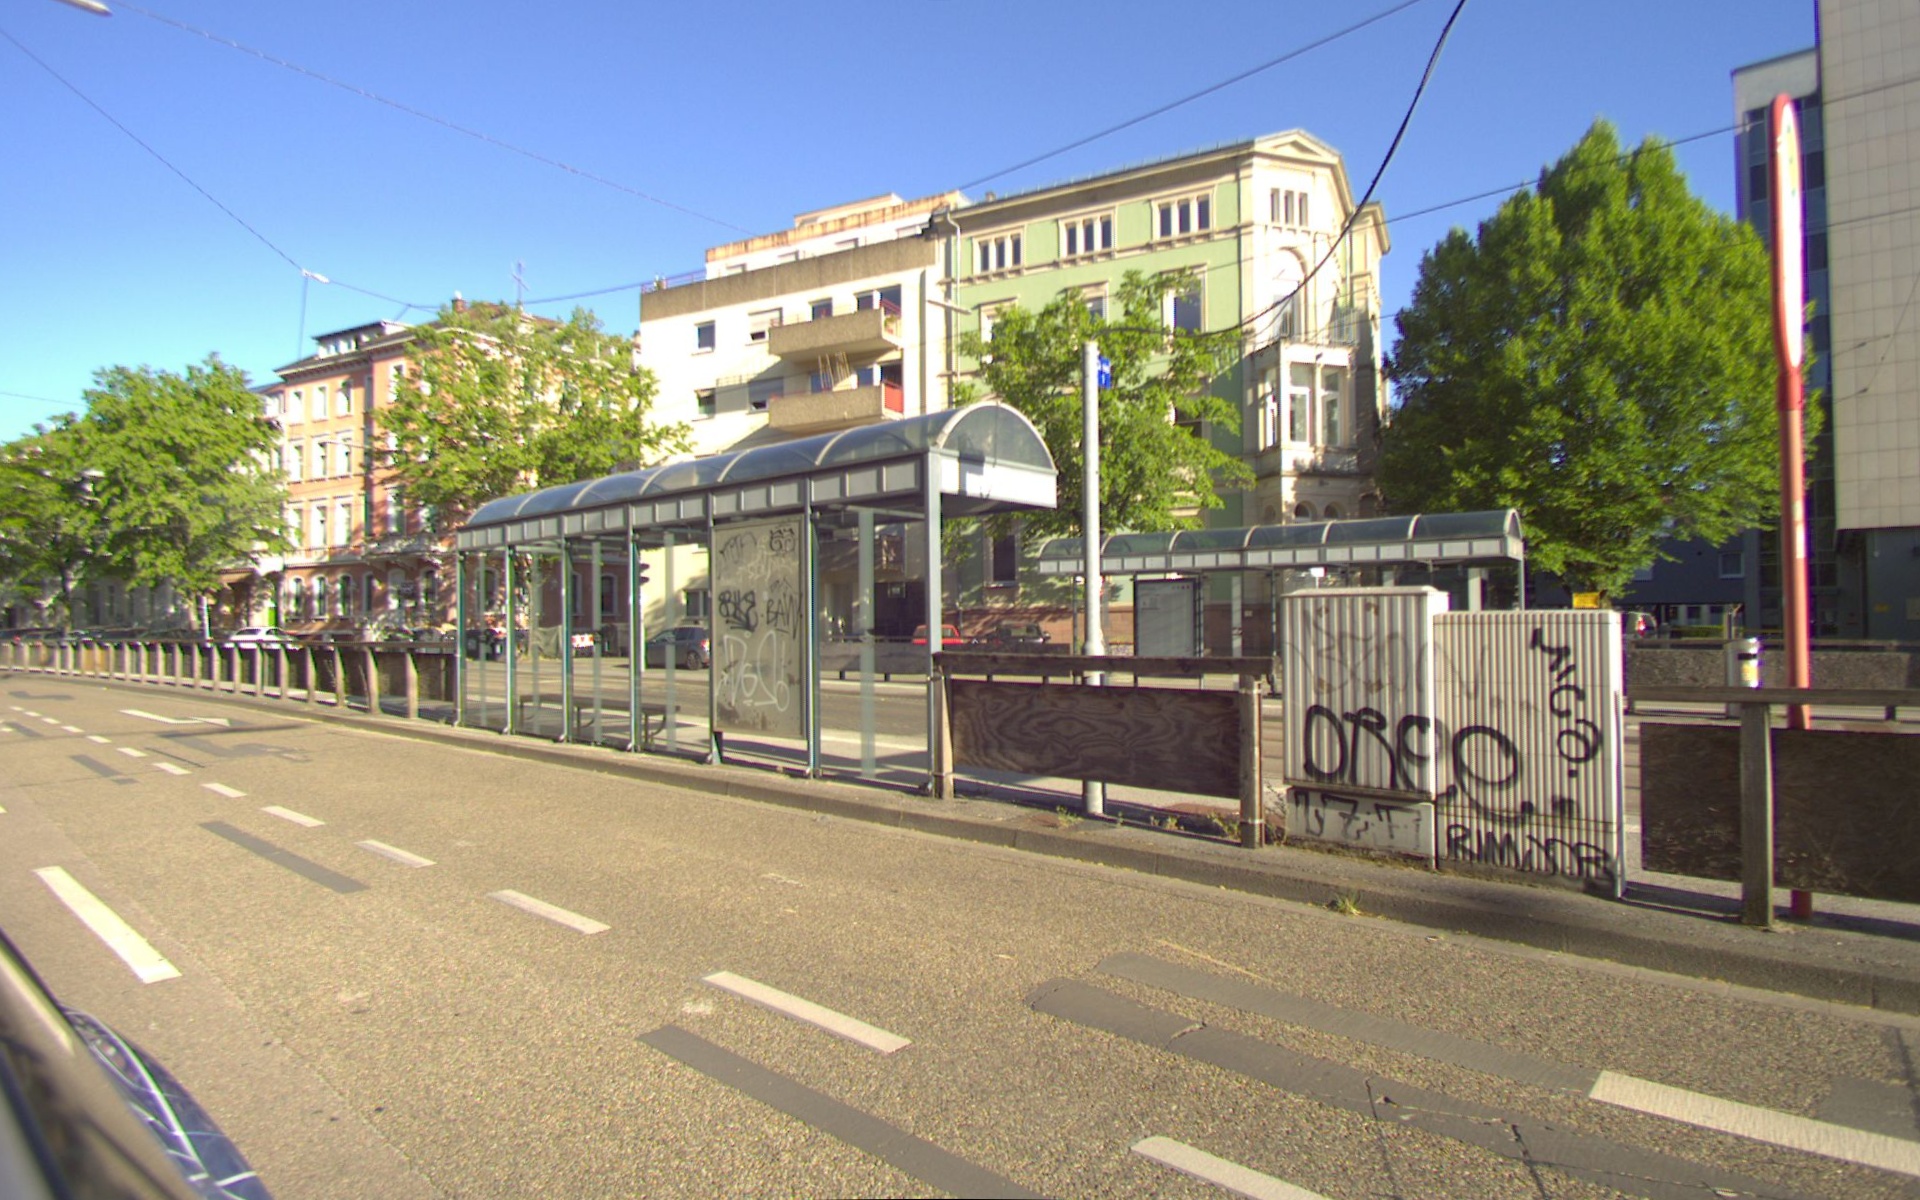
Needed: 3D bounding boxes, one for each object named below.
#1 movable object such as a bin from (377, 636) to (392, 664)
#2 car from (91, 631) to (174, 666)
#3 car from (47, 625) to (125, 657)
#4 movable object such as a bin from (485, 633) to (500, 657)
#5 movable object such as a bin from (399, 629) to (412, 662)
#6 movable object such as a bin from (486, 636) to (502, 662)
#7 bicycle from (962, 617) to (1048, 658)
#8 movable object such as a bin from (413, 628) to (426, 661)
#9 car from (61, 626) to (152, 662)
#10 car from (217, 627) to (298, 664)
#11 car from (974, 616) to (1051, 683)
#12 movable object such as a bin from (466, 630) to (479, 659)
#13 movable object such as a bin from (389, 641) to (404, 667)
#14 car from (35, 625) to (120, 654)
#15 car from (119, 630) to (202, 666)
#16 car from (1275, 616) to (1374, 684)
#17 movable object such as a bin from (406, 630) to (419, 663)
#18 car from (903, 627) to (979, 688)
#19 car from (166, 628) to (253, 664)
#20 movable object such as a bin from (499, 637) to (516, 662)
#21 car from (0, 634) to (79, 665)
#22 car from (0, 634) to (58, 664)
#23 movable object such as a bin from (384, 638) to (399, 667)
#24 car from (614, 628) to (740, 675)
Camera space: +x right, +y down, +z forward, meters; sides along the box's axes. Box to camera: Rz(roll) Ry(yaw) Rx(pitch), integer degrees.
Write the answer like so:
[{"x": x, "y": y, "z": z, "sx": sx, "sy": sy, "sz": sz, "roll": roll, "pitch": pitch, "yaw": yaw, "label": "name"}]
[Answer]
[{"x": -25.217, "y": 2.181, "z": 44.361, "sx": 0.639, "sy": 1.212, "sz": 0.375, "roll": -2, "pitch": -2, "yaw": 40, "label": "movable object such as a bin"}, {"x": -44.674, "y": 2.562, "z": 54.736, "sx": 1.609, "sy": 1.629, "sz": 3.993, "roll": -2, "pitch": 1, "yaw": -7, "label": "car"}, {"x": -50.107, "y": 2.342, "z": 58.103, "sx": 1.682, "sy": 1.544, "sz": 3.284, "roll": -2, "pitch": 2, "yaw": -3, "label": "car"}, {"x": -21.637, "y": 2.087, "z": 46.847, "sx": 0.551, "sy": 1.107, "sz": 0.376, "roll": -2, "pitch": -2, "yaw": 34, "label": "movable object such as a bin"}, {"x": -24.370, "y": 2.008, "z": 44.470, "sx": 0.387, "sy": 1.437, "sz": 0.375, "roll": -2, "pitch": -2, "yaw": 40, "label": "movable object such as a bin"}, {"x": -20.425, "y": 2.128, "z": 44.375, "sx": 0.551, "sy": 1.105, "sz": 0.376, "roll": 0, "pitch": -1, "yaw": 34, "label": "movable object such as a bin"}, {"x": 1.552, "y": 1.309, "z": 35.518, "sx": 2.995, "sy": 1.409, "sz": 0.713, "roll": -1, "pitch": -2, "yaw": 27, "label": "bicycle"}, {"x": -23.586, "y": 1.951, "z": 44.149, "sx": 0.387, "sy": 1.437, "sz": 0.375, "roll": -2, "pitch": -2, "yaw": 40, "label": "movable object such as a bin"}, {"x": -47.615, "y": 2.411, "z": 56.575, "sx": 1.682, "sy": 1.735, "sz": 4.290, "roll": -1, "pitch": 1, "yaw": -4, "label": "car"}, {"x": -34.863, "y": 2.219, "z": 50.351, "sx": 1.708, "sy": 1.533, "sz": 3.924, "roll": -2, "pitch": 1, "yaw": -9, "label": "car"}, {"x": 1.396, "y": 1.332, "z": 28.624, "sx": 1.566, "sy": 1.654, "sz": 4.520, "roll": 0, "pitch": 0, "yaw": -5, "label": "car"}, {"x": -22.204, "y": 2.012, "z": 46.124, "sx": 0.387, "sy": 1.322, "sz": 0.376, "roll": -2, "pitch": -2, "yaw": 34, "label": "movable object such as a bin"}, {"x": -24.200, "y": 2.320, "z": 43.449, "sx": 0.639, "sy": 1.076, "sz": 0.375, "roll": -2, "pitch": -2, "yaw": 40, "label": "movable object such as a bin"}, {"x": -52.384, "y": 2.311, "z": 60.158, "sx": 1.745, "sy": 1.496, "sz": 3.823, "roll": -1, "pitch": 1, "yaw": -1, "label": "car"}, {"x": -42.237, "y": 2.501, "z": 53.583, "sx": 1.609, "sy": 1.629, "sz": 3.993, "roll": -2, "pitch": 1, "yaw": -7, "label": "car"}, {"x": 9.608, "y": 1.247, "z": 26.987, "sx": 1.572, "sy": 1.581, "sz": 4.504, "roll": 0, "pitch": 0, "yaw": 8, "label": "car"}, {"x": -23.973, "y": 2.029, "z": 44.315, "sx": 0.385, "sy": 1.437, "sz": 0.375, "roll": -2, "pitch": -2, "yaw": 40, "label": "movable object such as a bin"}, {"x": -0.620, "y": 1.561, "z": 28.567, "sx": 1.845, "sy": 1.436, "sz": 4.520, "roll": 0, "pitch": 0, "yaw": -5, "label": "car"}, {"x": -37.999, "y": 2.299, "z": 51.355, "sx": 1.664, "sy": 1.519, "sz": 3.925, "roll": -2, "pitch": 1, "yaw": -4, "label": "car"}, {"x": -20.101, "y": 2.192, "z": 44.929, "sx": 0.551, "sy": 1.041, "sz": 0.443, "roll": 0, "pitch": -1, "yaw": 34, "label": "movable object such as a bin"}, {"x": -55.377, "y": 2.932, "z": 60.692, "sx": 1.748, "sy": 1.667, "sz": 3.871, "roll": -1, "pitch": 0, "yaw": -1, "label": "car"}, {"x": -58.276, "y": 3.015, "z": 62.469, "sx": 1.748, "sy": 1.667, "sz": 3.872, "roll": -1, "pitch": 0, "yaw": -1, "label": "car"}, {"x": -24.681, "y": 2.270, "z": 43.922, "sx": 0.639, "sy": 1.251, "sz": 0.375, "roll": -2, "pitch": -2, "yaw": 40, "label": "movable object such as a bin"}, {"x": -9.721, "y": 1.744, "z": 34.635, "sx": 4.278, "sy": 1.421, "sz": 1.693, "roll": -2, "pitch": 1, "yaw": 32, "label": "car"}]
